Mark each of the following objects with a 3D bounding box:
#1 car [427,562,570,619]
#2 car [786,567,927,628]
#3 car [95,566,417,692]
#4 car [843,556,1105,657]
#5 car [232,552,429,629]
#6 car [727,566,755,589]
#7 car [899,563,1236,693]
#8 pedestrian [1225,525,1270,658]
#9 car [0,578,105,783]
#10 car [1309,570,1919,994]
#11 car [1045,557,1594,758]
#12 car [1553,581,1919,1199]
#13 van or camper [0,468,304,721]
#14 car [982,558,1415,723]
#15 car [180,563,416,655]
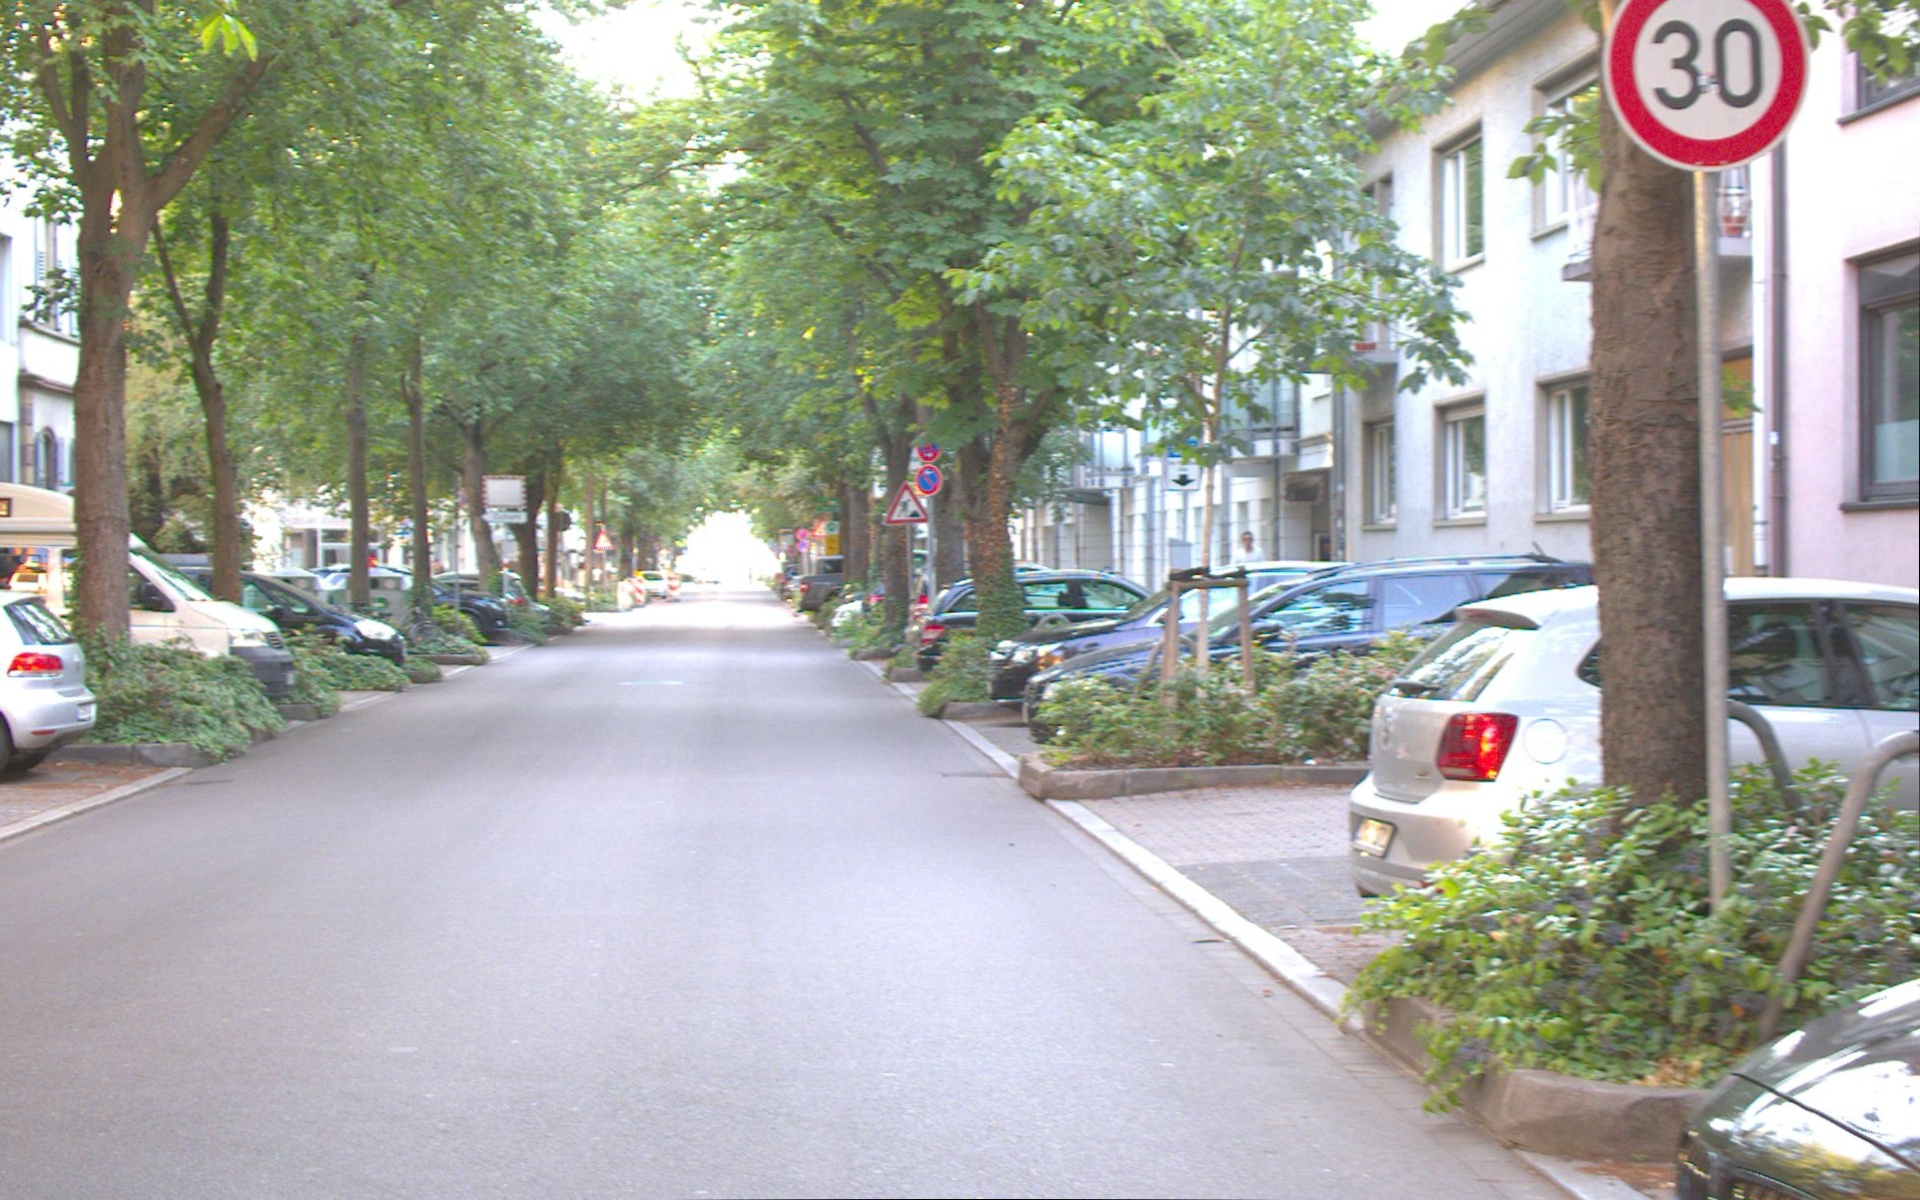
[{"bbox_3d":[-13.382,-0.294,99.898,3.967,1.614,1.785,0,1,-2],"label":"car"},{"bbox_3d":[-2.963,-0.077,98.278,3.967,1.678,1.785,0,1,-2],"label":"car"},{"bbox_3d":[-9.336,0.368,45.814,3.967,1.614,1.785,0,1,-3],"label":"car"},{"bbox_3d":[0.196,0.087,54.097,3.967,1.522,1.785,0,1,-5],"label":"car"},{"bbox_3d":[-13.546,-0.208,74.133,3.967,1.614,1.785,0,1,-2],"label":"car"},{"bbox_3d":[-15.244,-1.573,239.479,1.822,1.525,4.000,1,0,-3],"label":"car"},{"bbox_3d":[1.279,0.326,42.158,3.967,1.522,1.785,0,1,-4],"label":"car"},{"bbox_3d":[4.377,-0.132,52.374,0.589,2.007,0.669,0,1,-2],"label":"pedestrian"},{"bbox_3d":[-8.768,0.610,26.453,3.967,1.512,1.785,0,1,-3],"label":"car"},{"bbox_3d":[3.425,0.629,13.116,3.908,1.471,1.665,0,1,-5],"label":"car"},{"bbox_3d":[2.744,0.420,26.762,3.967,1.471,1.785,0,1,-5],"label":"car"},{"bbox_3d":[3.425,0.704,5.043,4.744,1.475,1.800,0,1,-3],"label":"car"},{"bbox_3d":[-9.125,-0.062,34.793,4.663,2.470,2.000,0,1,-4],"label":"van or camper"},{"bbox_3d":[2.260,0.370,33.283,3.967,1.522,1.785,0,1,-4],"label":"car"},{"bbox_3d":[-11.994,0.152,62.445,3.967,1.614,1.785,0,1,-2],"label":"car"}]
